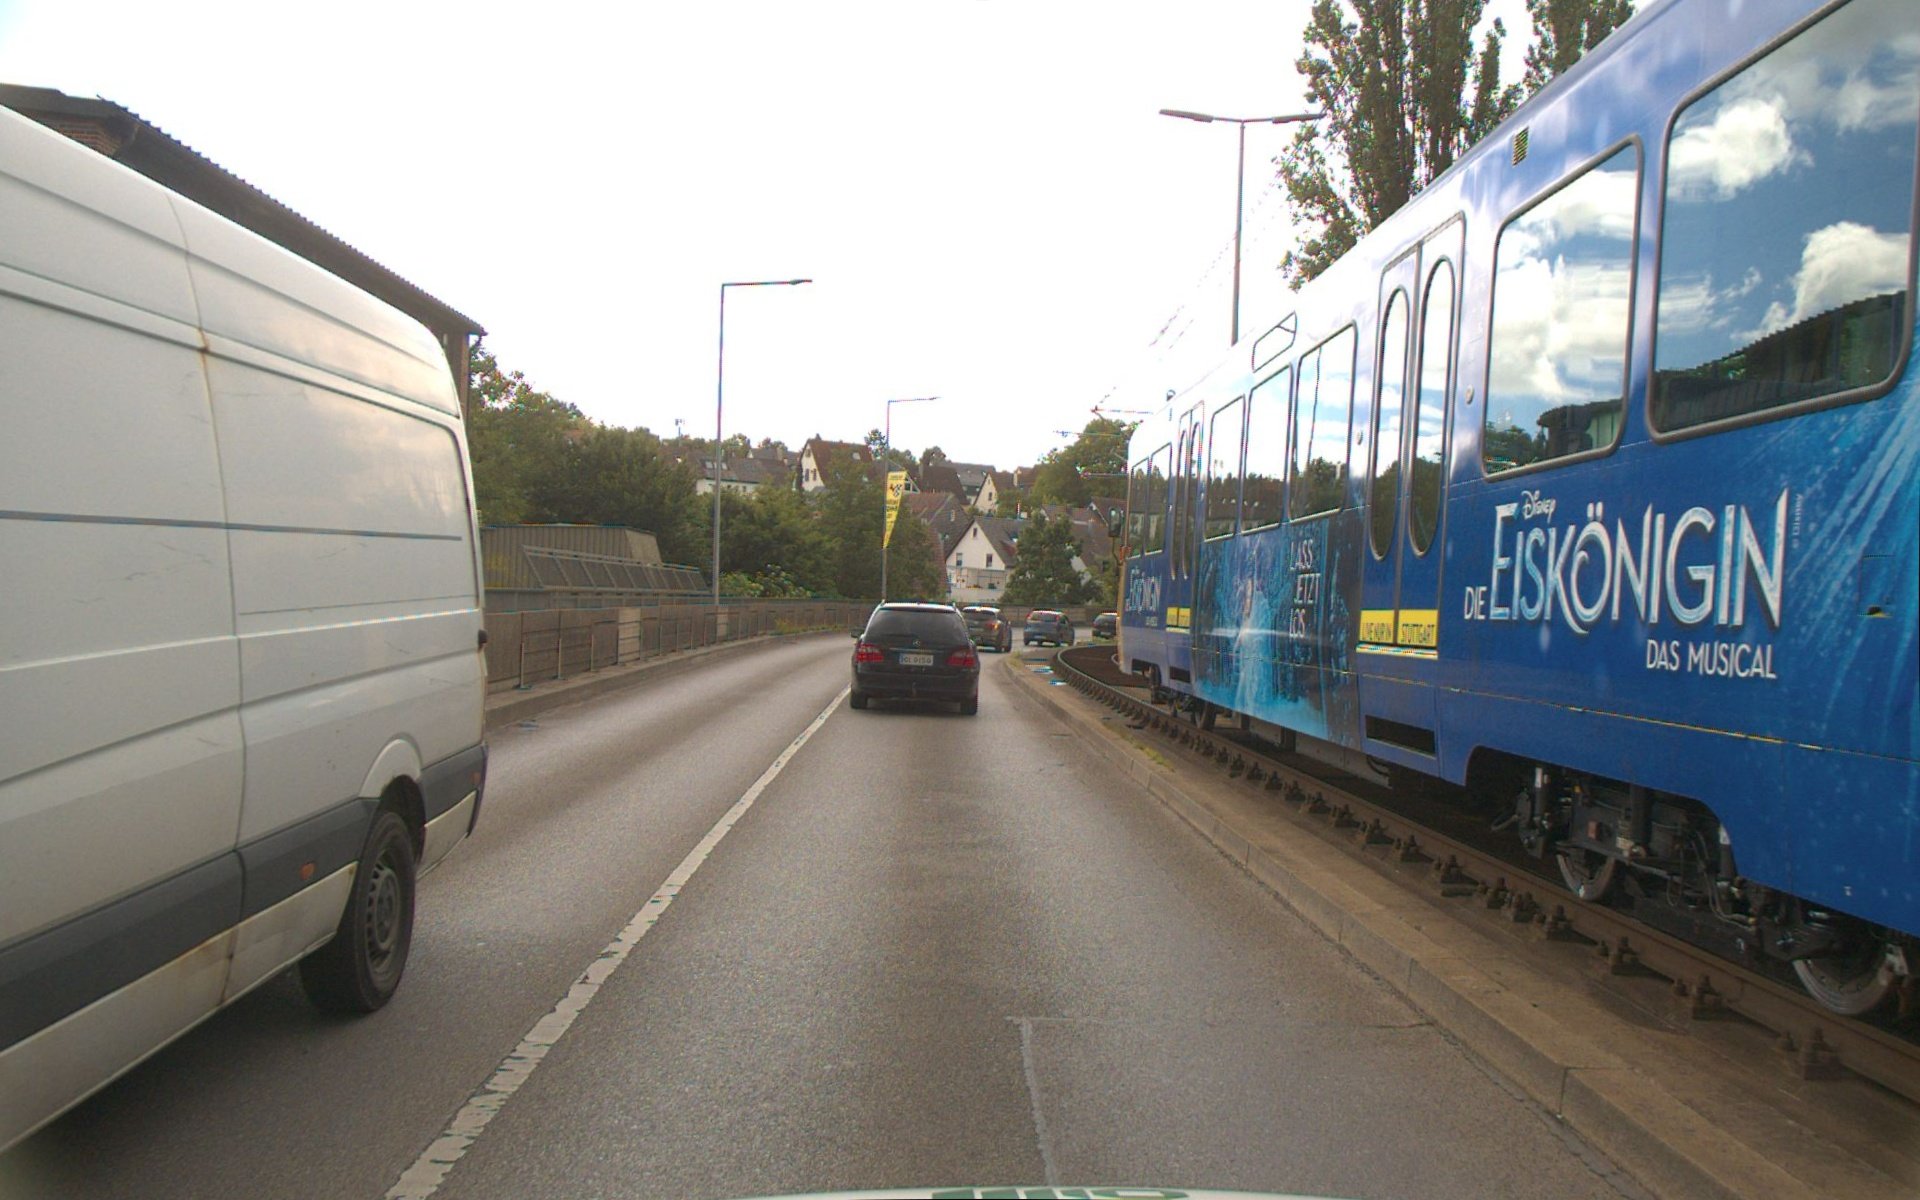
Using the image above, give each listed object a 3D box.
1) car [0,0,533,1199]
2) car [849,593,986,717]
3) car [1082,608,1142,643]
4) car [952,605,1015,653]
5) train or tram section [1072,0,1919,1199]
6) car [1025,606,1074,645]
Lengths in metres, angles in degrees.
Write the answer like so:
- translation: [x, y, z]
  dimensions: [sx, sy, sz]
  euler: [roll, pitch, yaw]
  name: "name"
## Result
- translation: [-2.876, 0.090, 4.172]
  dimensions: [1.992, 2.606, 7.005]
  euler: [1, 1, -2]
  name: "car"
- translation: [-0.631, 0.742, 23.918]
  dimensions: [1.724, 1.542, 4.440]
  euler: [3, -1, -2]
  name: "car"
- translation: [7.461, 1.248, 80.711]
  dimensions: [1.734, 1.582, 4.240]
  euler: [2, 0, 22]
  name: "car"
- translation: [0.876, 1.004, 58.731]
  dimensions: [1.732, 1.582, 4.244]
  euler: [0, 0, 8]
  name: "car"
- translation: [3.373, -0.298, 13.316]
  dimensions: [2.737, 3.830, 19.883]
  euler: [2, 0, -2]
  name: "train or tram section"
- translation: [3.890, 1.084, 71.188]
  dimensions: [1.754, 1.582, 4.388]
  euler: [1, 0, 7]
  name: "car"
